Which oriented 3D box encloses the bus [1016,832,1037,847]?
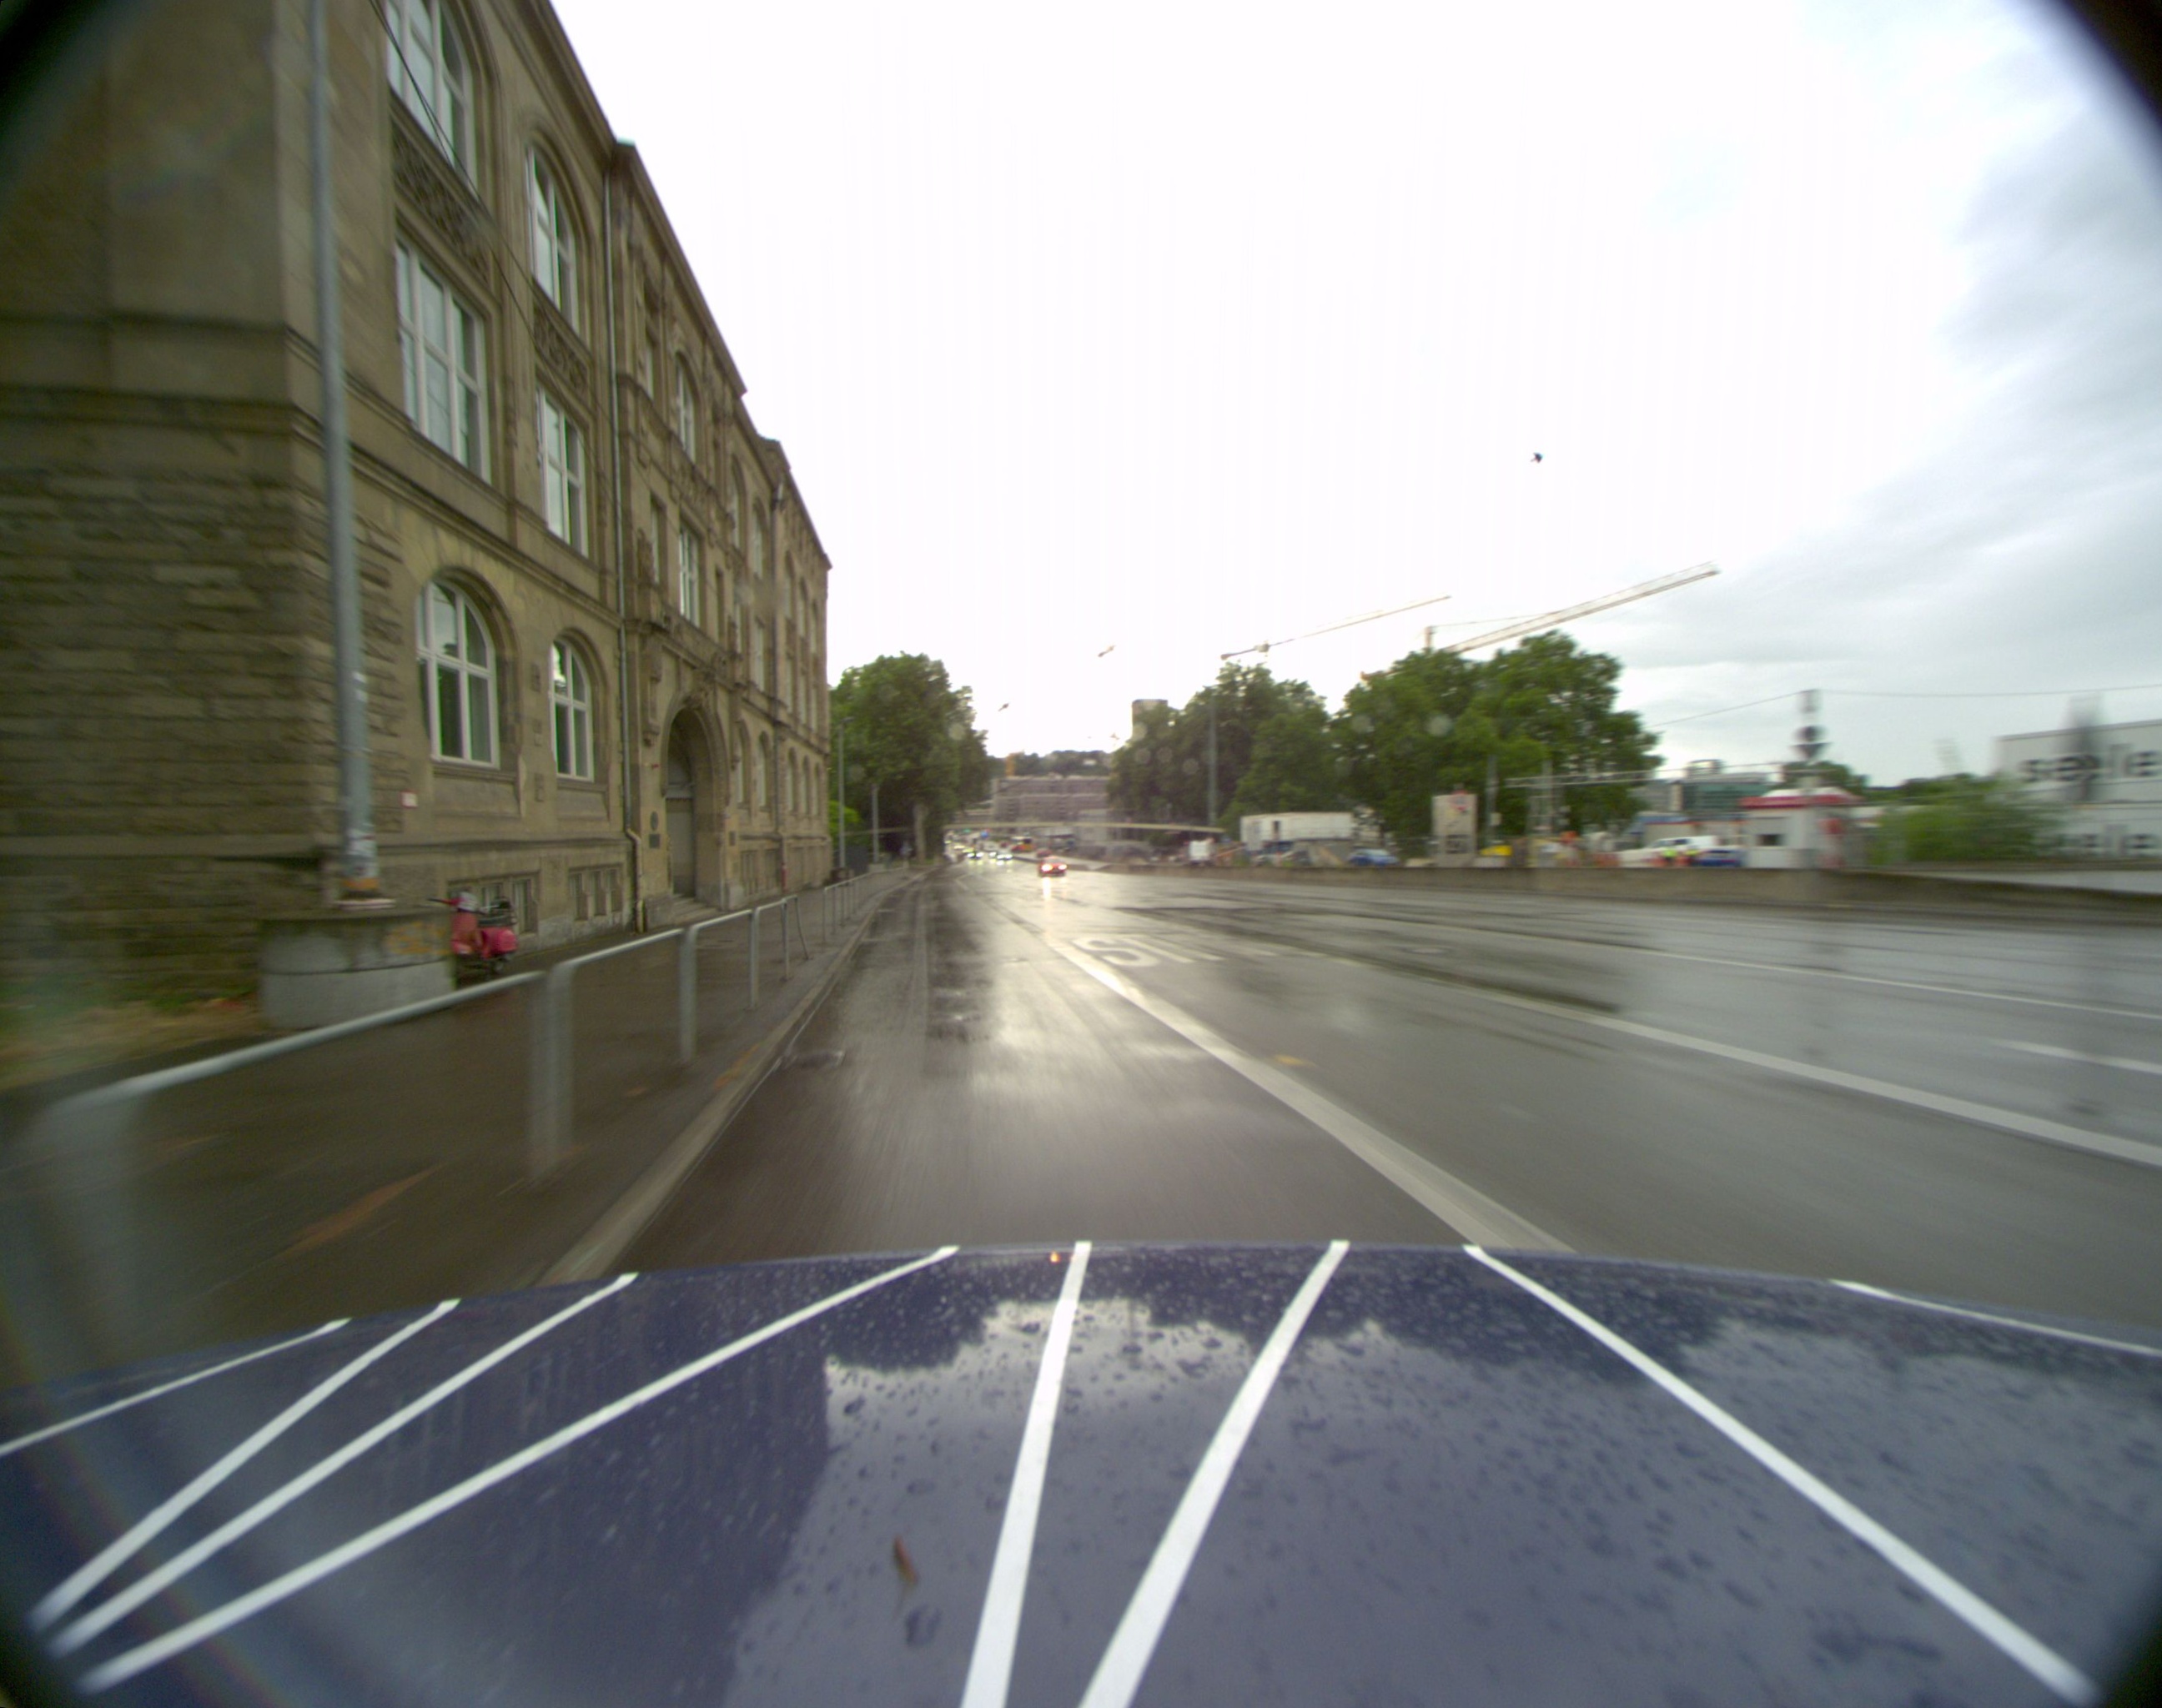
[{"bbox_3d":[-11.791,-3.035,163.941,3.273,2.924,8.944,-3,1,-12],"label":"bus"}]

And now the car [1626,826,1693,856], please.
[{"bbox_3d":[47.600,-1.045,62.577,2.004,2.370,3.989,-2,1,-38],"label":"car"}]

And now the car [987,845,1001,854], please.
[{"bbox_3d":[-15.364,-0.852,134.498,1.989,1.567,4.434,-1,0,-13],"label":"car"}]

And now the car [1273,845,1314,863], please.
[{"bbox_3d":[17.696,-0.008,63.507,1.841,1.481,4.437,-1,0,-6],"label":"car"}]

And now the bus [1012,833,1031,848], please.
[{"bbox_3d":[-13.488,-3.086,172.533,3.241,3.038,8.944,-3,1,-11],"label":"bus"}]

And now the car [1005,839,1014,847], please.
[{"bbox_3d":[-18.170,-2.828,192.576,2.000,2.002,3.997,-1,1,-8],"label":"car"}]

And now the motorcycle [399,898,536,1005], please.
[{"bbox_3d":[-7.932,1.204,9.935,0.548,1.132,1.896,-1,1,-12],"label":"motorcycle"}]

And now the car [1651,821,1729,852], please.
[{"bbox_3d":[50.505,-1.412,63.025,4.935,2.370,2.004,-1,1,42],"label":"car"}]

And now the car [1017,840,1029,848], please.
[{"bbox_3d":[-11.825,-2.054,154.723,1.842,1.567,4.434,-1,0,-13],"label":"car"}]

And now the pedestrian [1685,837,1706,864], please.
[{"bbox_3d":[30.859,-0.191,38.156,0.743,1.344,0.839,-1,1,42],"label":"pedestrian"}]

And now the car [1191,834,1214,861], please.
[{"bbox_3d":[12.809,-0.707,79.979,2.077,2.722,4.597,-1,1,12],"label":"car"}]

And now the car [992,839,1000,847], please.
[{"bbox_3d":[-21.885,-2.884,195.339,2.000,2.002,3.997,-1,1,-8],"label":"car"}]

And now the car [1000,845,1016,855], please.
[{"bbox_3d":[-11.840,-0.577,122.228,1.989,1.567,4.434,-1,0,-13],"label":"car"}]

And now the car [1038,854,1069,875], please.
[{"bbox_3d":[-2.182,0.783,59.520,1.691,1.543,3.996,-2,0,-12],"label":"car"}]

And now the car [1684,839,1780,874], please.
[{"bbox_3d":[31.263,0.103,36.494,4.004,1.499,1.996,-3,1,-25],"label":"car"}]

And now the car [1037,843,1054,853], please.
[{"bbox_3d":[-5.912,-0.991,126.086,1.842,1.567,4.434,-1,1,-14],"label":"car"}]

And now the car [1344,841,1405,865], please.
[{"bbox_3d":[19.290,-0.087,50.180,1.841,1.481,4.436,-1,0,-7],"label":"car"}]

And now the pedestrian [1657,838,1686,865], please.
[{"bbox_3d":[29.760,-0.134,38.295,0.745,1.344,0.837,-2,1,-6],"label":"pedestrian"}]
